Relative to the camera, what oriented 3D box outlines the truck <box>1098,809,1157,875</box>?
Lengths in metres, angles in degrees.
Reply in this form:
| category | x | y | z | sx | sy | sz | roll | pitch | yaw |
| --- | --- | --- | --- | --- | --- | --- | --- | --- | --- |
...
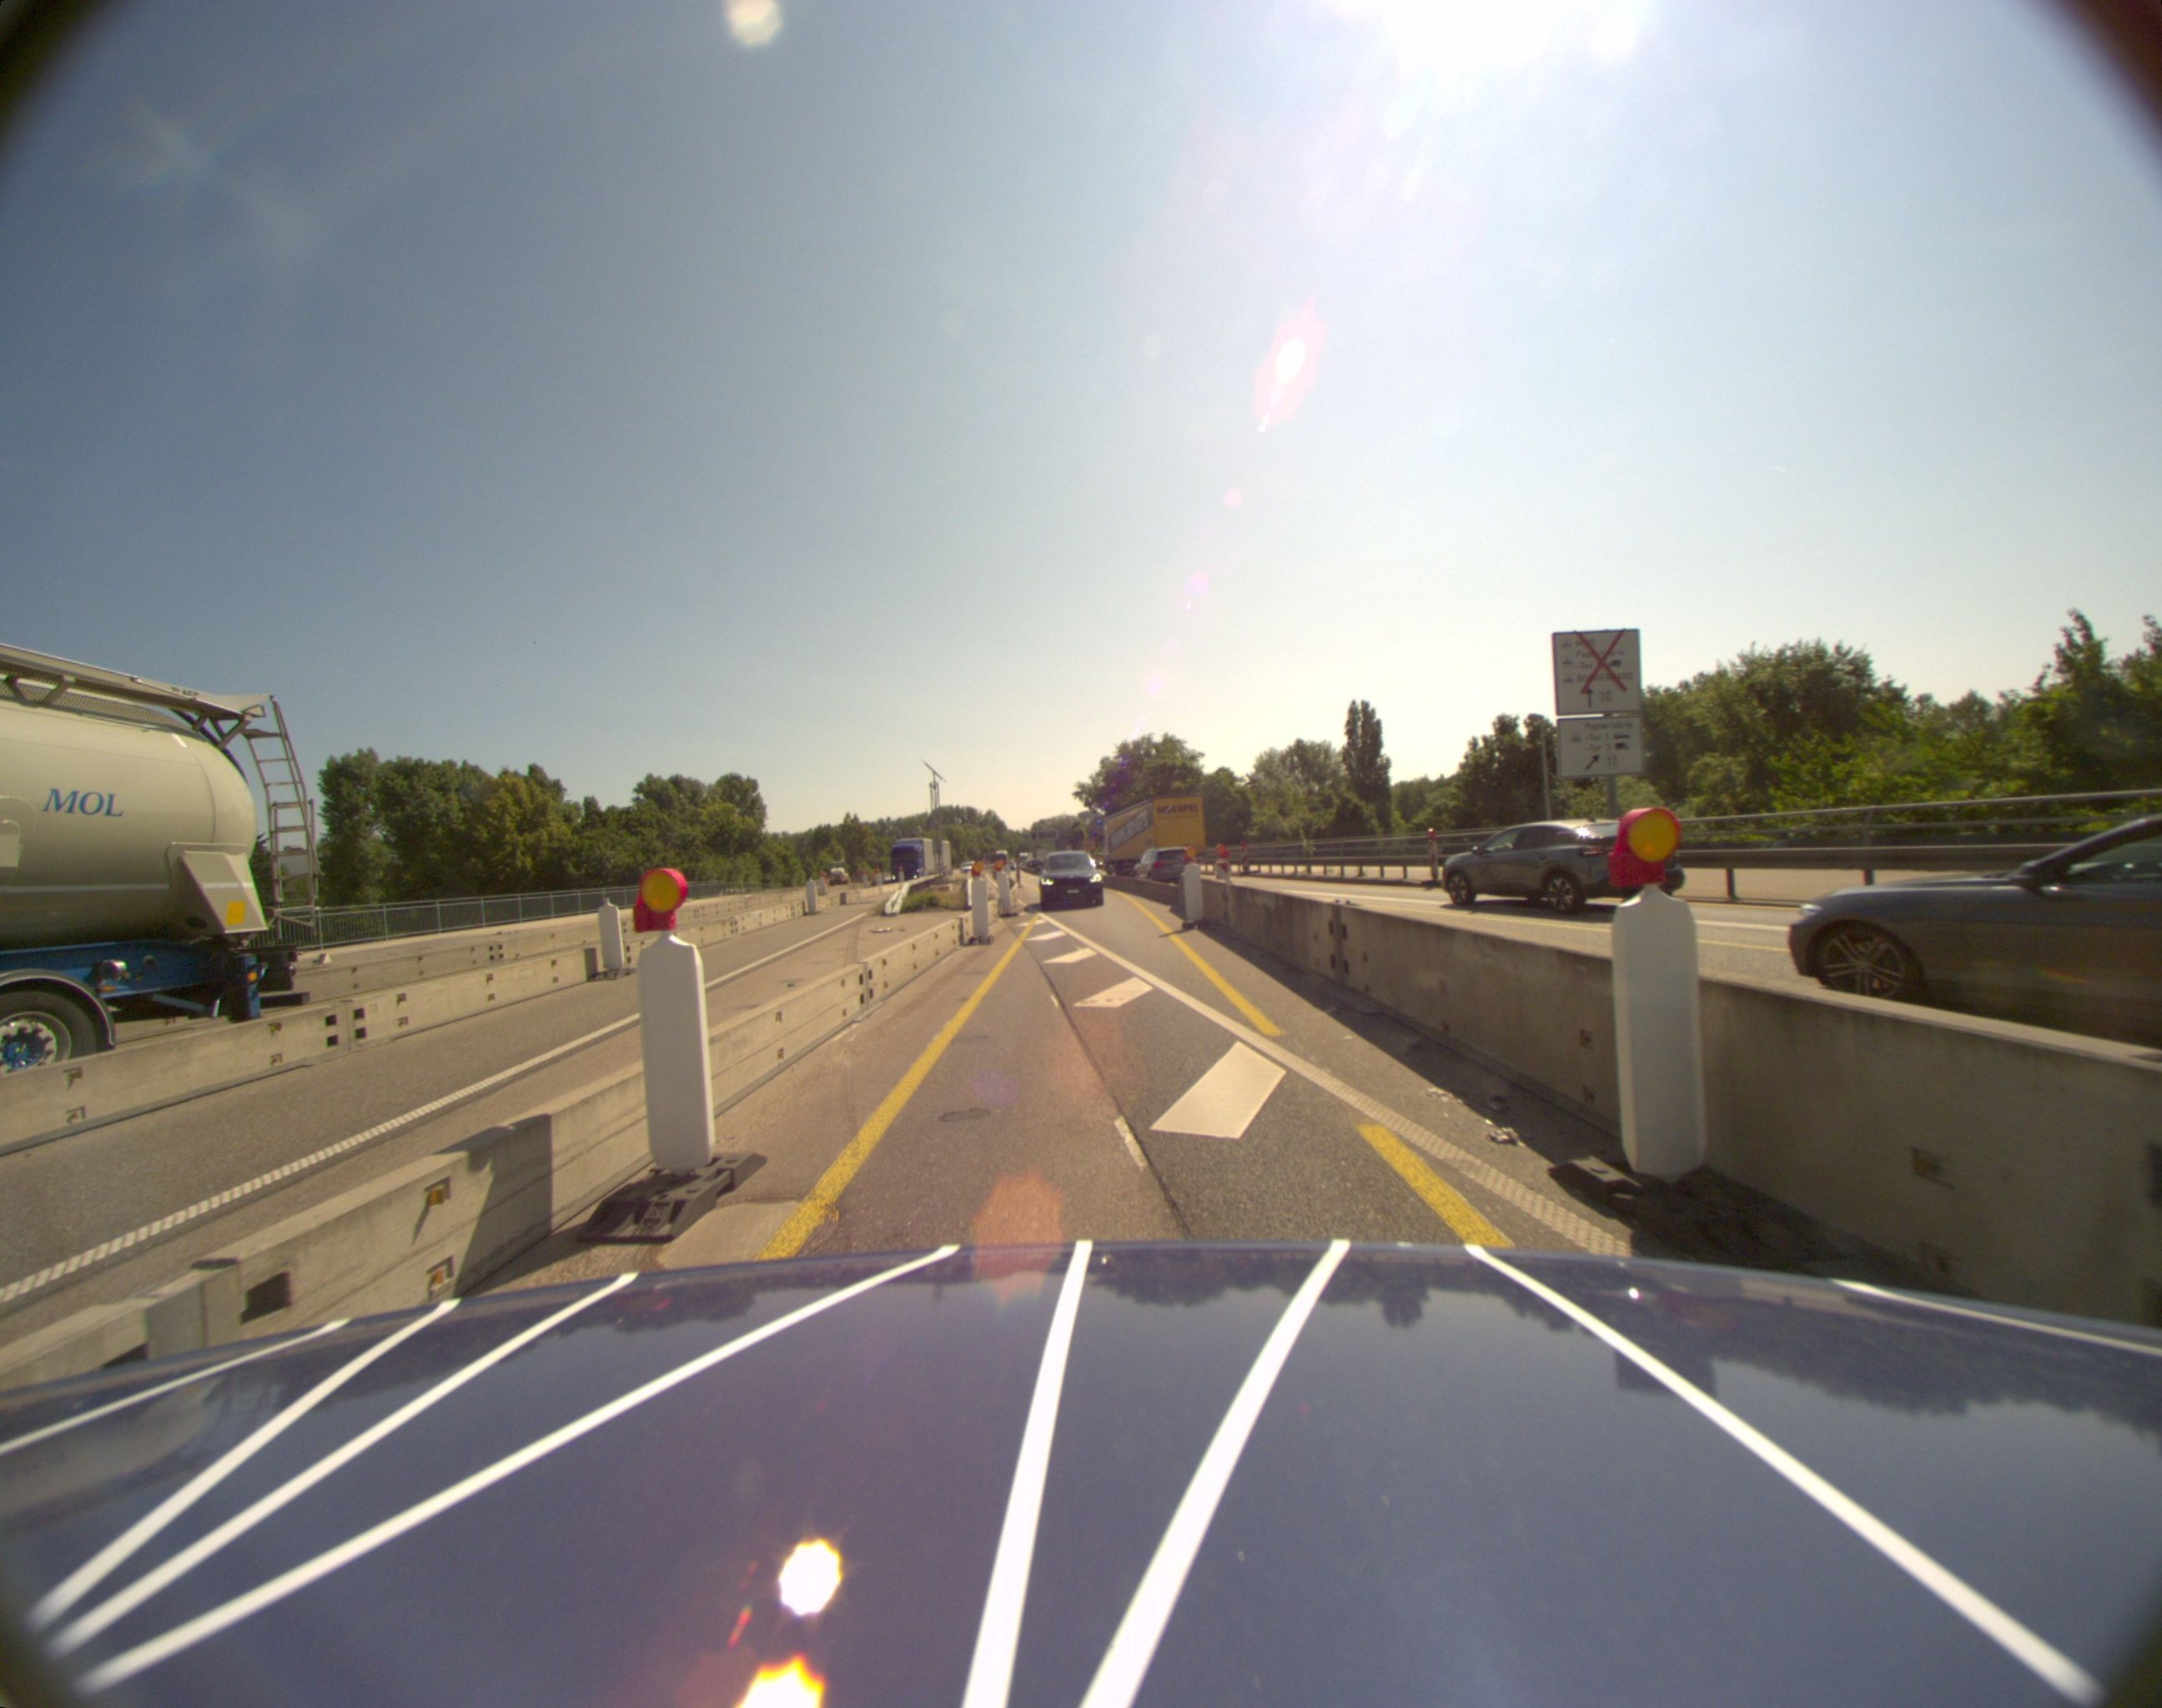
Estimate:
| category | x | y | z | sx | sy | sz | roll | pitch | yaw |
| --- | --- | --- | --- | --- | --- | --- | --- | --- | --- |
| truck | 3.069 | -0.792 | 51.861 | 2.758 | 4.112 | 6.411 | -3 | 0 | -7 |

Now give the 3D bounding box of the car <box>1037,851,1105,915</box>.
| category | x | y | z | sx | sy | sz | roll | pitch | yaw |
| --- | --- | --- | --- | --- | --- | --- | --- | --- | --- |
| car | -0.370 | 0.820 | 23.814 | 1.789 | 1.651 | 4.485 | -5 | 0 | -2 |

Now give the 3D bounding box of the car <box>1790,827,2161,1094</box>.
| category | x | y | z | sx | sy | sz | roll | pitch | yaw |
| --- | --- | --- | --- | --- | --- | --- | --- | --- | --- |
| car | 6.595 | 0.544 | 3.848 | 1.694 | 1.368 | 4.270 | -3 | 0 | -7 |

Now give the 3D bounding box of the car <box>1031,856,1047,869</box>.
| category | x | y | z | sx | sy | sz | roll | pitch | yaw |
| --- | --- | --- | --- | --- | --- | --- | --- | --- | --- |
| car | -5.896 | 1.192 | 106.240 | 1.869 | 1.622 | 4.563 | -3 | 0 | -7 |

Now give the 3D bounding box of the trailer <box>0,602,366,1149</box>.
| category | x | y | z | sx | sy | sz | roll | pitch | yaw |
| --- | --- | --- | --- | --- | --- | --- | --- | --- | --- |
| trailer | -9.097 | 0.184 | 2.480 | 2.702 | 4.113 | 12.606 | -3 | 0 | -7 |

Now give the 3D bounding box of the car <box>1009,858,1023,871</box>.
| category | x | y | z | sx | sy | sz | roll | pitch | yaw |
| --- | --- | --- | --- | --- | --- | --- | --- | --- | --- |
| car | -9.241 | 1.463 | 107.833 | 1.748 | 1.621 | 4.090 | -3 | 0 | -5 |

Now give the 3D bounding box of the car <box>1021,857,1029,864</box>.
| category | x | y | z | sx | sy | sz | roll | pitch | yaw |
| --- | --- | --- | --- | --- | --- | --- | --- | --- | --- |
| car | -16.067 | 1.854 | 217.035 | 1.999 | 2.002 | 3.999 | -3 | 0 | -1 |

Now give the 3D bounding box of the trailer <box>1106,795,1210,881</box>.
| category | x | y | z | sx | sy | sz | roll | pitch | yaw |
| --- | --- | --- | --- | --- | --- | --- | --- | --- | --- |
| trailer | 4.019 | -0.783 | 44.612 | 2.769 | 4.112 | 14.522 | -3 | 0 | -7 |

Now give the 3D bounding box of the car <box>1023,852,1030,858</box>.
| category | x | y | z | sx | sy | sz | roll | pitch | yaw |
| --- | --- | --- | --- | --- | --- | --- | --- | --- | --- |
| car | -17.306 | 0.350 | 240.664 | 1.999 | 2.002 | 3.999 | -3 | 0 | -1 |

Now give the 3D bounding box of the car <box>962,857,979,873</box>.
| category | x | y | z | sx | sy | sz | roll | pitch | yaw |
| --- | --- | --- | --- | --- | --- | --- | --- | --- | --- |
| car | -14.707 | 1.400 | 101.046 | 2.000 | 2.002 | 3.998 | -3 | 0 | -6 |

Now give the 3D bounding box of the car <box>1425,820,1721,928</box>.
| category | x | y | z | sx | sy | sz | roll | pitch | yaw |
| --- | --- | --- | --- | --- | --- | --- | --- | --- | --- |
| car | 8.374 | 0.307 | 13.557 | 1.939 | 1.499 | 4.466 | -3 | 0 | -8 |

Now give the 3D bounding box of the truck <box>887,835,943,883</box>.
| category | x | y | z | sx | sy | sz | roll | pitch | yaw |
| --- | --- | --- | --- | --- | --- | --- | --- | --- | --- |
| truck | -15.016 | 0.436 | 69.534 | 2.861 | 3.961 | 8.665 | -3 | 0 | 1 |

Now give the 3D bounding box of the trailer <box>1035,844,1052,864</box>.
| category | x | y | z | sx | sy | sz | roll | pitch | yaw |
| --- | --- | --- | --- | --- | --- | --- | --- | --- | --- |
| trailer | -8.110 | 0.162 | 163.960 | 2.812 | 4.019 | 13.461 | -3 | 0 | -6 |

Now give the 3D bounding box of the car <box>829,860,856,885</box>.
| category | x | y | z | sx | sy | sz | roll | pitch | yaw |
| --- | --- | --- | --- | --- | --- | --- | --- | --- | --- |
| car | -26.419 | 1.988 | 84.360 | 2.111 | 2.626 | 5.979 | -3 | 0 | -12 |

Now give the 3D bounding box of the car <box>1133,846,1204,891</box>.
| category | x | y | z | sx | sy | sz | roll | pitch | yaw |
| --- | --- | --- | --- | --- | --- | --- | --- | --- | --- |
| car | 3.319 | 0.537 | 29.561 | 1.796 | 1.559 | 3.870 | -3 | 0 | -7 |

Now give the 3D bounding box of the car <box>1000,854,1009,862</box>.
| category | x | y | z | sx | sy | sz | roll | pitch | yaw |
| --- | --- | --- | --- | --- | --- | --- | --- | --- | --- |
| car | -17.309 | 0.879 | 171.142 | 1.748 | 1.621 | 4.091 | -3 | 0 | -3 |
